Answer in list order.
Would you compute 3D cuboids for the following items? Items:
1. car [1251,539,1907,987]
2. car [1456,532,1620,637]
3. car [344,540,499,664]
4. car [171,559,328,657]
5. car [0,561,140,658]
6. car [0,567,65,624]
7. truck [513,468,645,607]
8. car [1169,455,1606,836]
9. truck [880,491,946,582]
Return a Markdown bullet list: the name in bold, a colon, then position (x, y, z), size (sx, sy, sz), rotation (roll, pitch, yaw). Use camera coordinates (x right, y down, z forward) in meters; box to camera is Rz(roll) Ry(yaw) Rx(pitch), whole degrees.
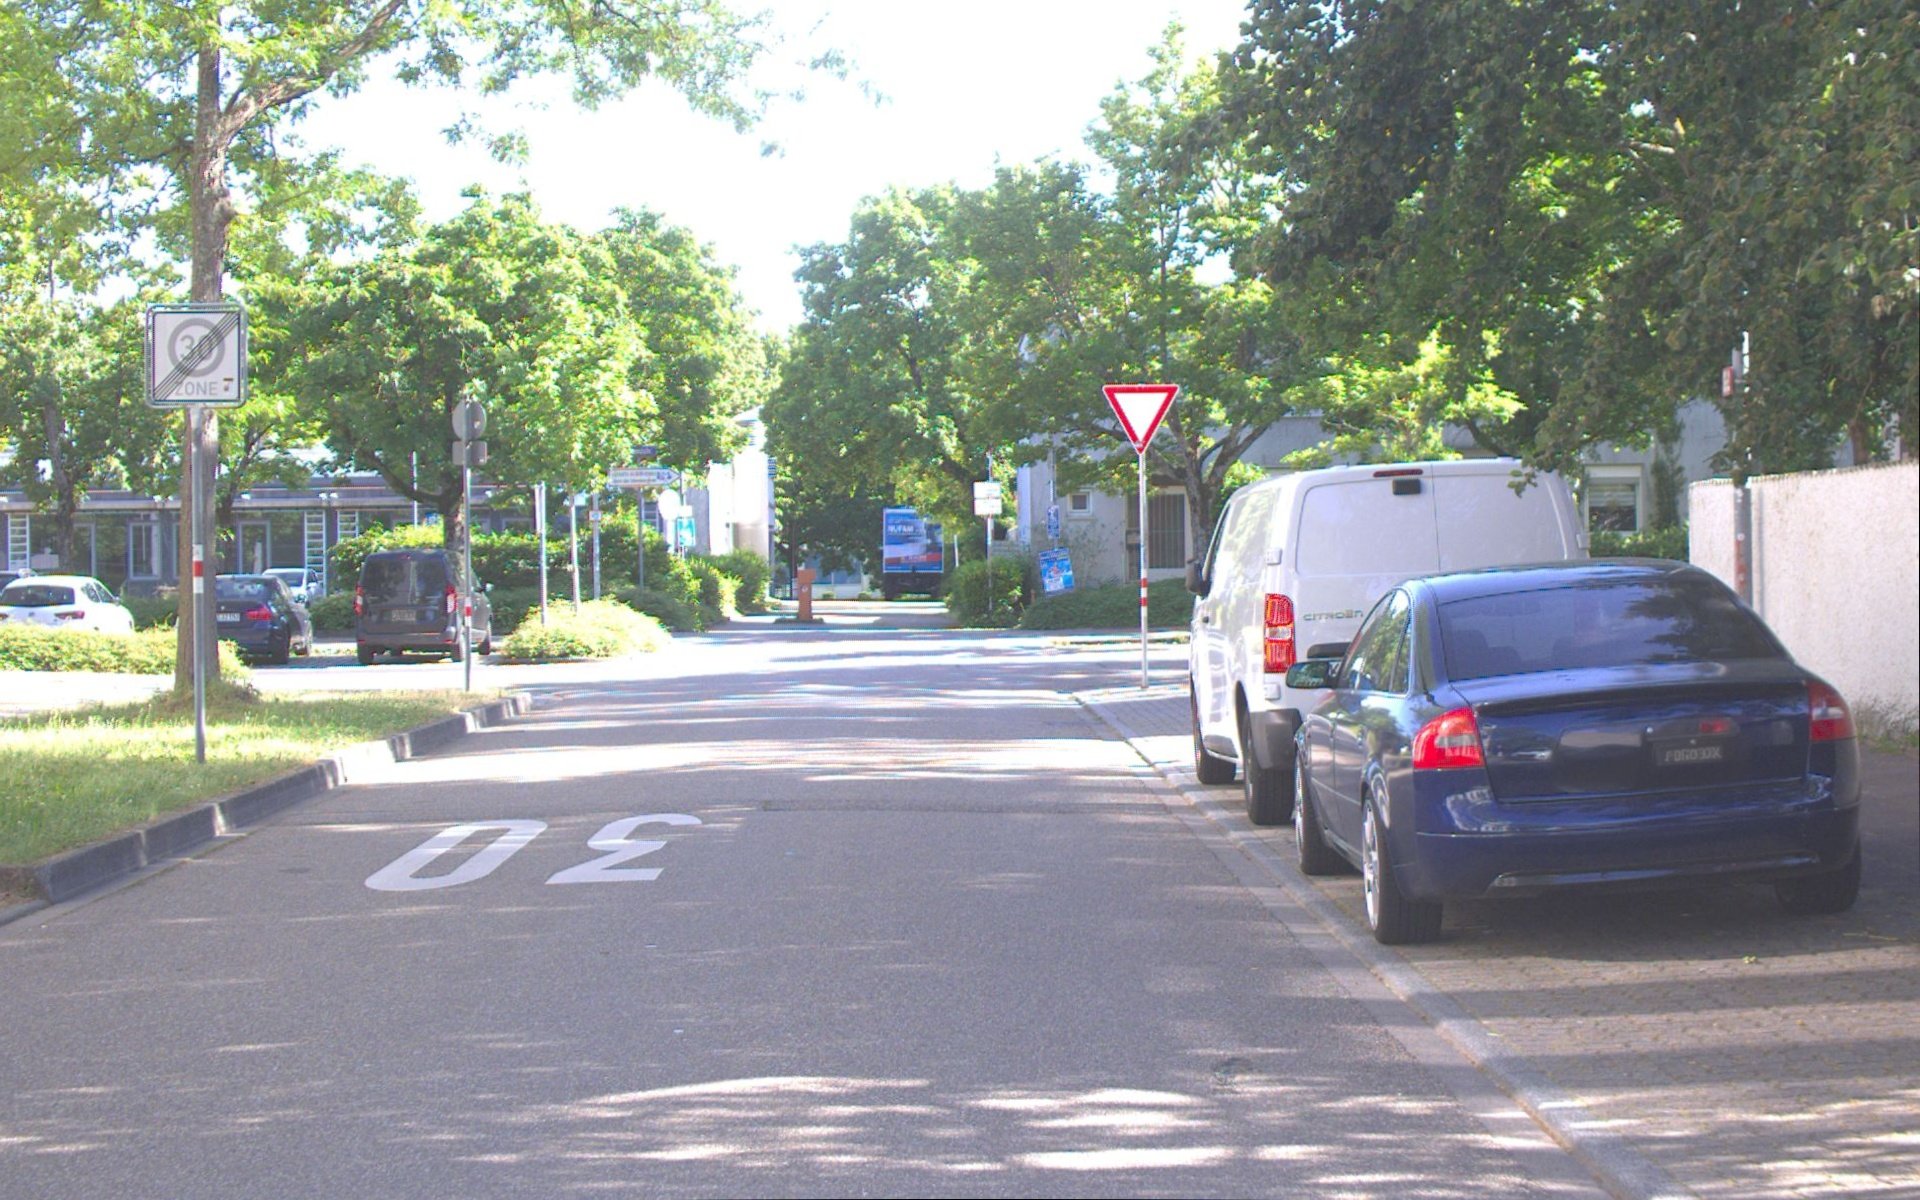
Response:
- **car**: position (2.326, 0.532, 14.055), size (1.825, 1.418, 4.283), rotation (-4, 1, 0)
- **car**: position (9.460, -0.286, 56.553), size (1.823, 1.592, 4.169), rotation (-1, 2, -2)
- **car**: position (-8.744, -0.006, 56.106), size (1.874, 1.840, 4.169), rotation (-1, 2, 0)
- **car**: position (-11.539, 0.100, 56.096), size (1.823, 1.401, 4.169), rotation (-1, 2, -2)
- **car**: position (-14.726, 0.132, 56.258), size (1.802, 1.431, 3.913), rotation (0, 2, -2)
- **car**: position (-26.380, -0.125, 95.680), size (1.836, 1.492, 3.908), rotation (-1, 1, 1)
- **truck**: position (-10.723, -1.760, 97.347), size (2.802, 3.793, 6.924), rotation (0, 1, 1)
- **car**: position (2.356, 0.193, 20.260), size (1.898, 1.907, 5.148), rotation (-2, 1, 0)
- **truck**: position (-2.009, -2.762, 150.915), size (2.760, 3.856, 9.330), rotation (0, 1, 0)
